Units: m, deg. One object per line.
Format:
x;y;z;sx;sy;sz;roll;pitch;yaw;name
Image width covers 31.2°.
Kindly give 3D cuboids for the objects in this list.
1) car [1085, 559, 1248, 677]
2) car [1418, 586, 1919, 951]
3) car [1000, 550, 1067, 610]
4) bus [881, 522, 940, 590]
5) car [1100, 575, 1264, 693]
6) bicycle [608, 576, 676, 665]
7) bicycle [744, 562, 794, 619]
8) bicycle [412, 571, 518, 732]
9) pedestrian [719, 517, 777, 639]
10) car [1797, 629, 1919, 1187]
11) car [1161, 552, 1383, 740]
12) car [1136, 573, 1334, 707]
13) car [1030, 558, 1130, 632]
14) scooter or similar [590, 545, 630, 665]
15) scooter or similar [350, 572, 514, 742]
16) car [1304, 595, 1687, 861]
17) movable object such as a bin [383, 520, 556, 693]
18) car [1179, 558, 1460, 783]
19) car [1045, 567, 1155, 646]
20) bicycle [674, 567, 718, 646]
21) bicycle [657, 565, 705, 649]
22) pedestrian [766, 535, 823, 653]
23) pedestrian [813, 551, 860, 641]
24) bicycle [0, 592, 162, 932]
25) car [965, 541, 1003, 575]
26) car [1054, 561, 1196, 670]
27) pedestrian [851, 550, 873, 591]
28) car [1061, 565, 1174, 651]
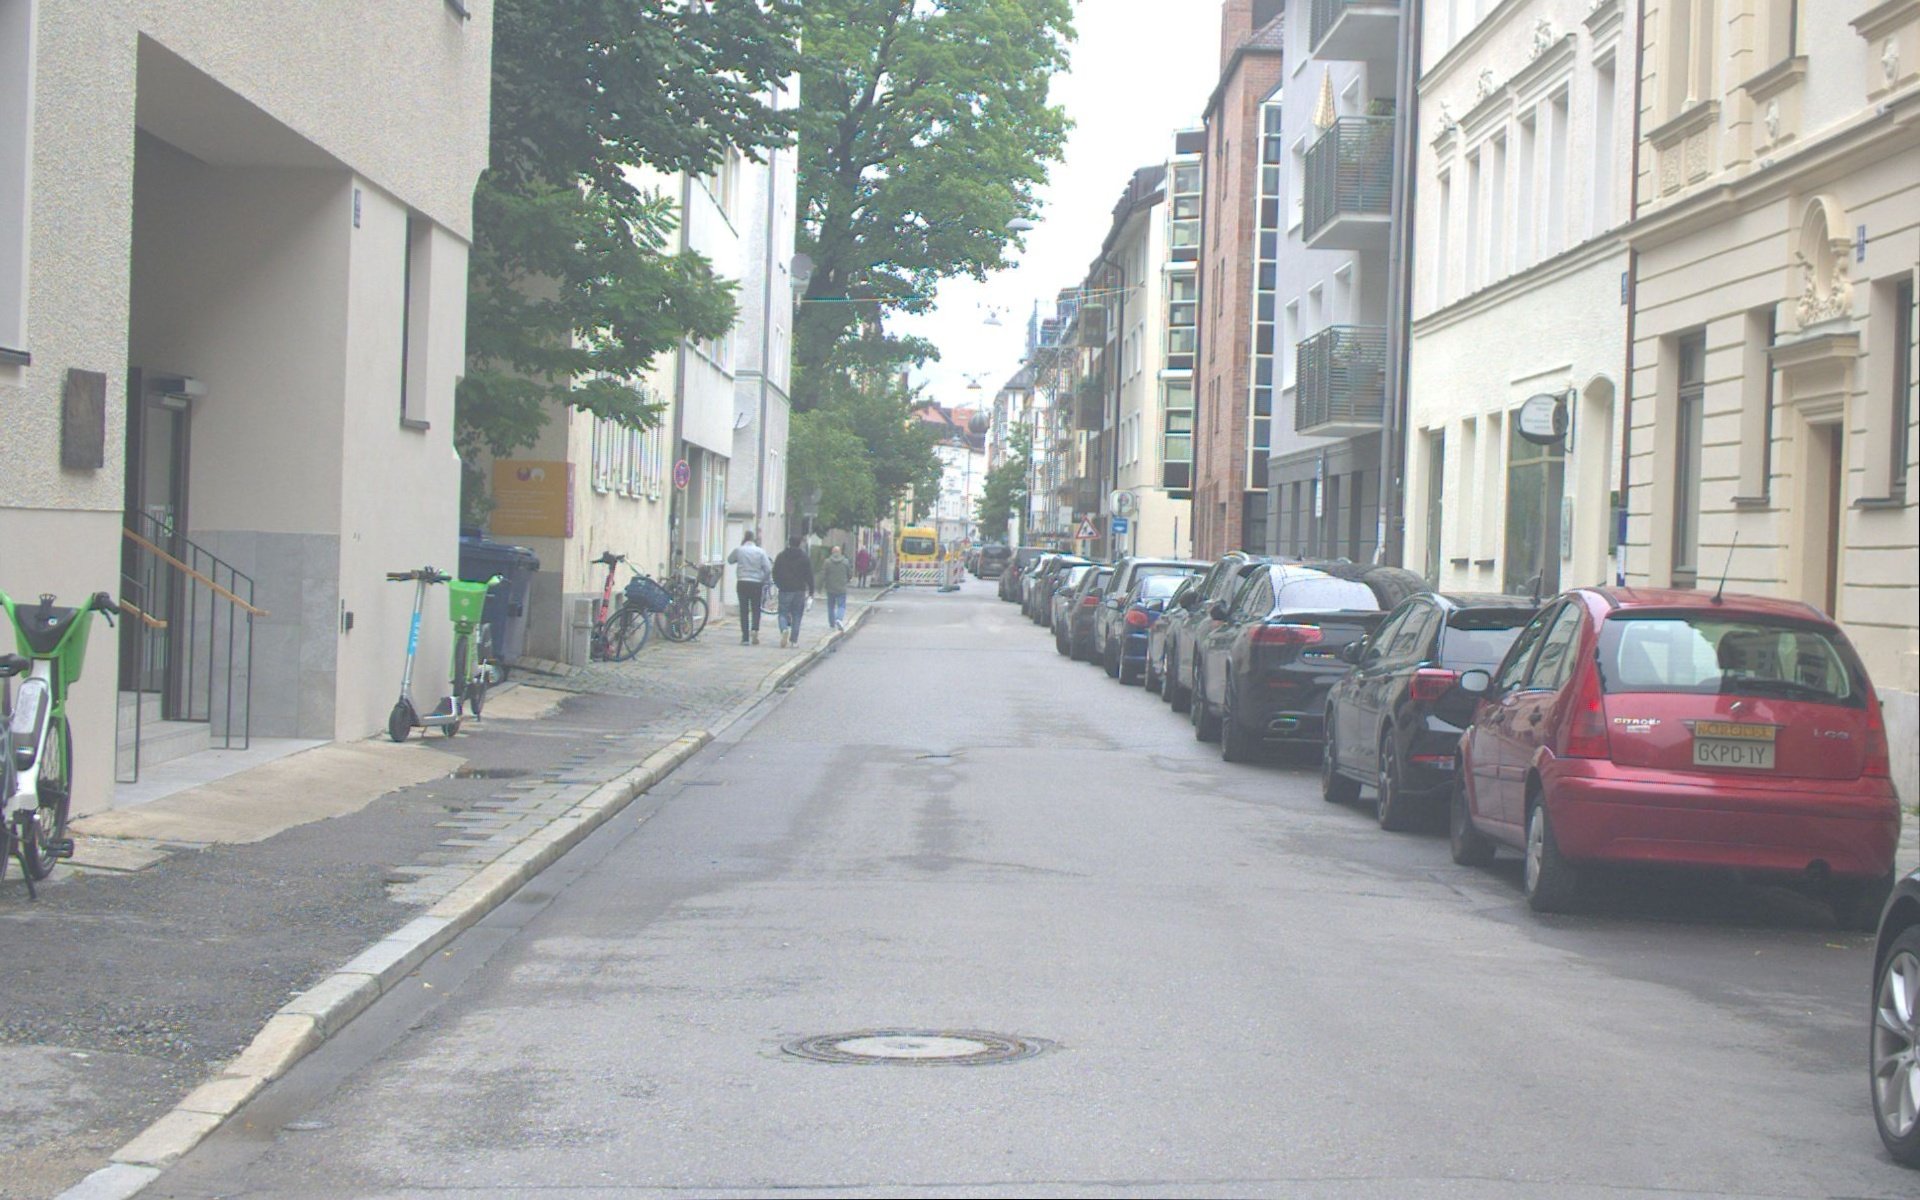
2.868;0.216;48.501;1.875;1.565;4.317;1;1;-2;car
3.398;0.730;16.959;1.676;1.487;3.853;2;1;-1;car
2.438;-0.685;114.737;1.801;1.814;4.001;6;1;-2;car
-2.278;-2.034;160.572;2.593;3.091;6.306;1;0;0;bus
2.766;0.397;43.583;1.808;1.358;3.945;1;1;0;car
-3.845;0.237;41.679;0.703;0.981;1.823;6;0;-5;bicycle
-4.144;-0.215;74.502;0.641;1.213;1.665;1;0;-19;bicycle
-3.817;0.378;26.612;0.544;1.157;1.882;4;1;-2;bicycle
-3.225;-0.338;52.317;0.718;1.790;0.917;4;0;0;pedestrian
3.310;0.866;7.217;1.825;1.330;4.509;6;1;-1;car
3.006;0.393;33.901;1.676;1.655;4.513;2;1;-1;car
3.062;0.412;39.045;1.799;1.381;4.349;1;1;-1;car
2.692;-0.145;78.252;1.885;1.550;4.392;3;1;-2;car
-4.059;0.056;39.945;0.317;1.371;1.239;1;0;0;scooter or similar
-3.757;0.405;24.547;0.552;1.140;1.357;5;0;16;scooter or similar
3.240;0.724;21.526;1.676;1.388;4.066;2;1;-1;car
-4.559;0.043;32.063;1.174;1.437;1.248;7;2;6;movable object such as a bin
2.837;0.502;28.055;1.702;1.601;4.685;2;1;-1;car
2.742;0.103;68.405;1.836;1.412;4.601;3;1;-1;car
-3.970;0.088;51.537;0.561;1.155;1.721;2;0;-6;bicycle
-4.038;0.095;49.822;0.458;1.155;1.605;4;0;1;bicycle
-2.529;-0.093;52.610;0.718;1.759;0.838;4;0;0;pedestrian
-2.356;-0.075;65.878;0.753;1.653;0.906;4;0;0;pedestrian
-3.520;0.564;12.970;0.538;1.135;1.917;4;1;-1;bicycle
1.331;-2.357;192.623;1.801;1.706;3.827;6;1;-2;car
2.518;0.207;53.388;1.839;1.523;4.293;3;1;-1;car
-3.582;-1.068;126.171;0.756;1.486;0.831;1;0;0;pedestrian
2.895;0.122;63.805;1.745;1.457;4.150;3;1;-1;car
